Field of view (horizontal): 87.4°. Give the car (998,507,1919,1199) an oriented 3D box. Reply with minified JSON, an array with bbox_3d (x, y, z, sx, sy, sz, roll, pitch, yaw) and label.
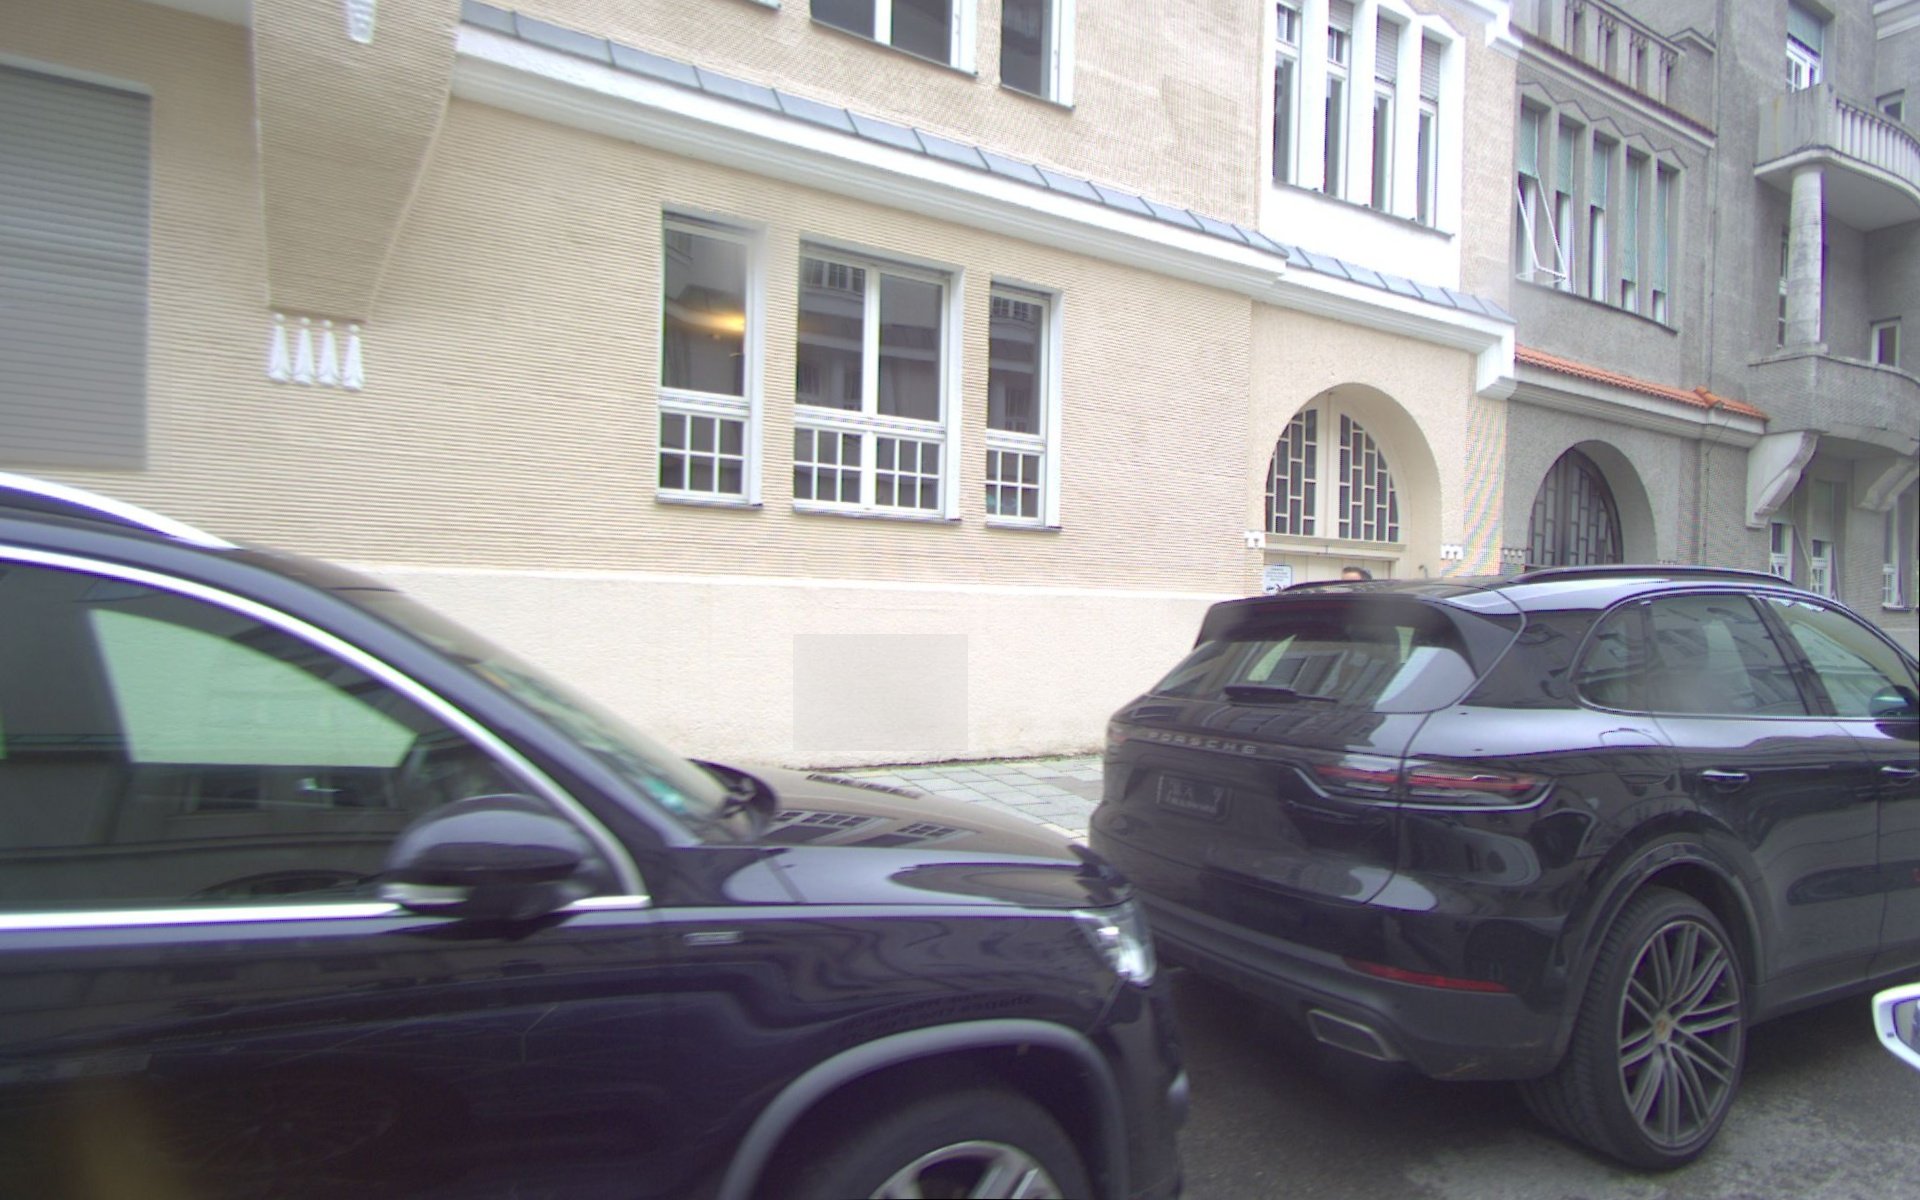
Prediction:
[{"bbox_3d":[2.621,0.711,4.102,4.557,1.681,1.944,2,-1,-27],"label":"car"}]

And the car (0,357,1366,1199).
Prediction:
[{"bbox_3d":[-1.328,0.593,1.834,4.054,1.664,1.723,2,-1,-30],"label":"car"}]

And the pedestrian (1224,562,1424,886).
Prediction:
[{"bbox_3d":[2.215,0.699,6.160,0.732,1.813,0.831,2,0,-30],"label":"pedestrian"}]
